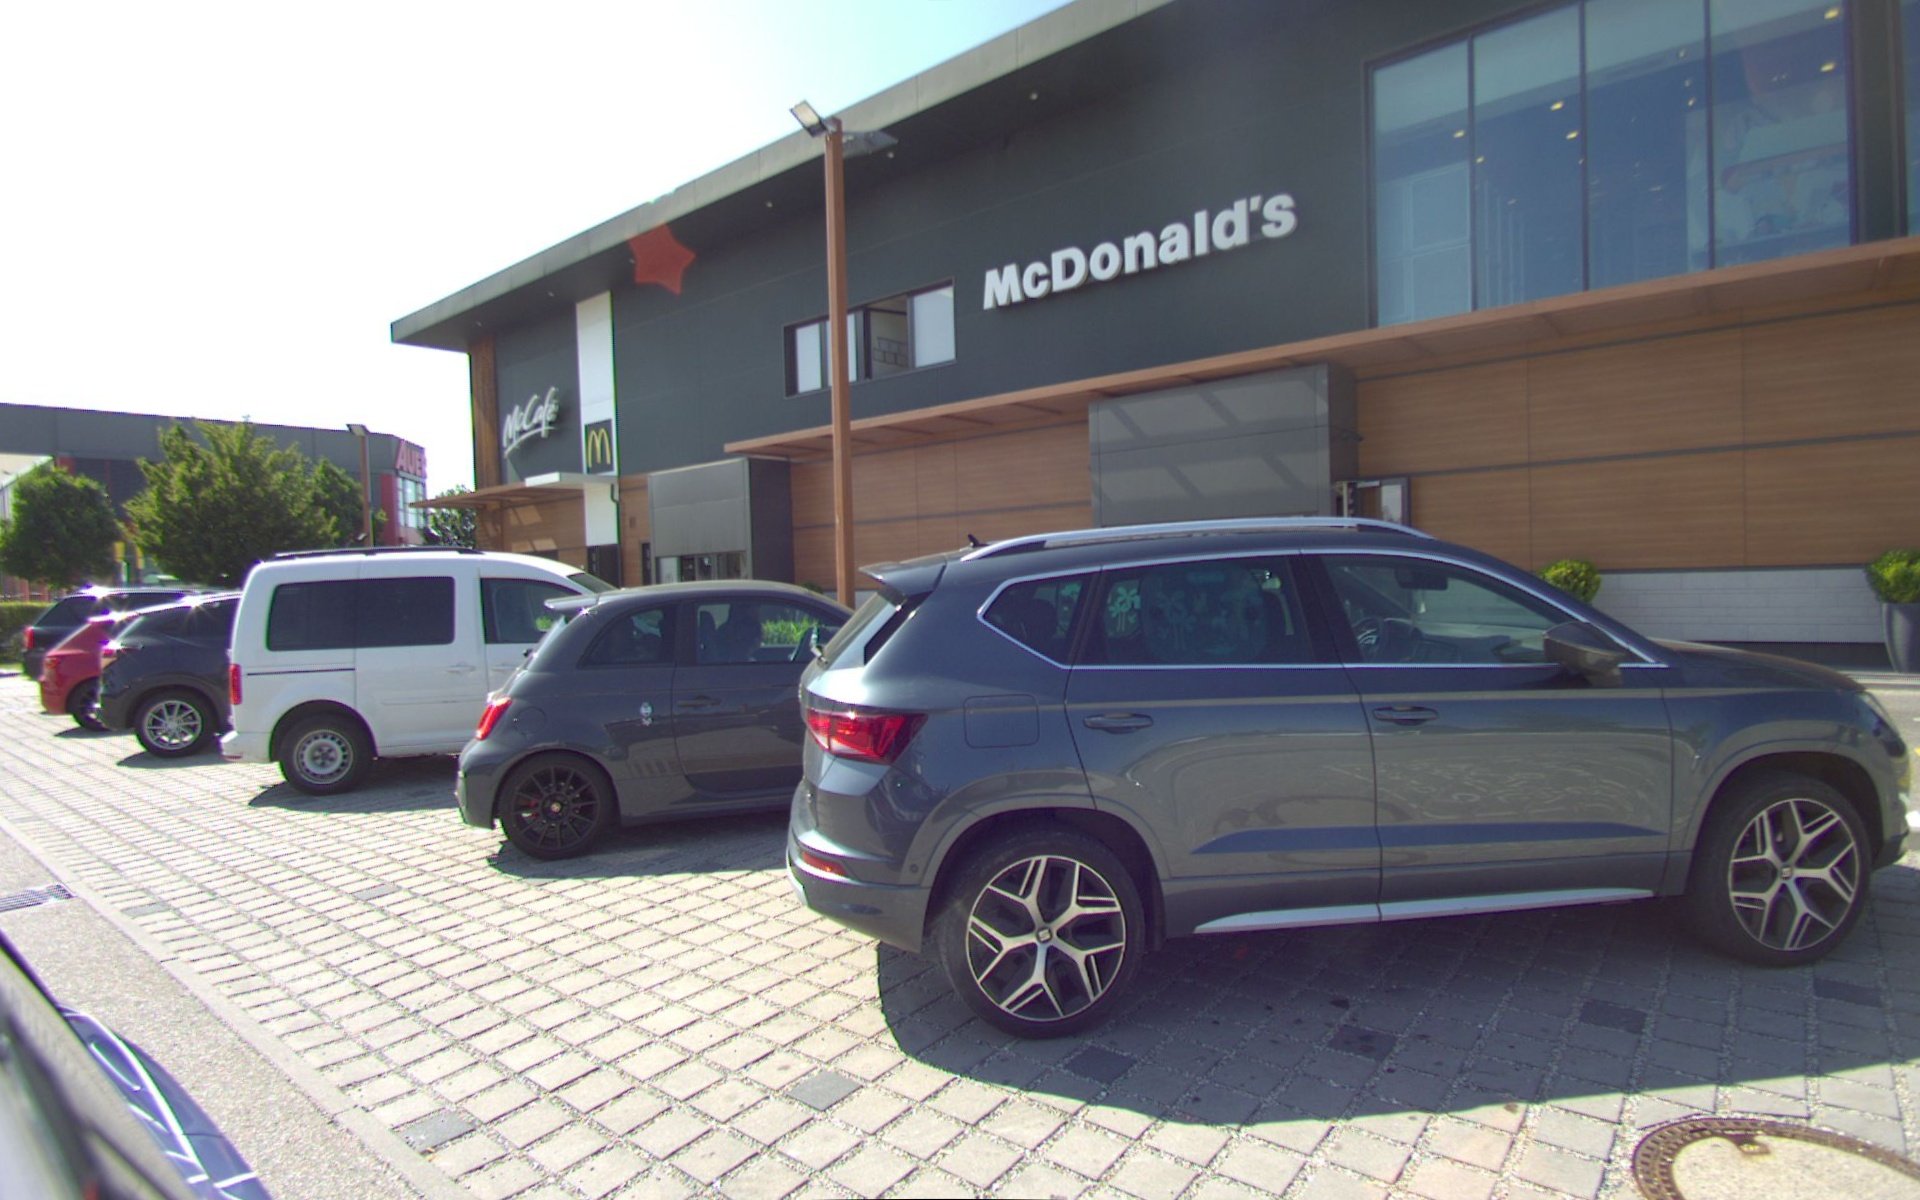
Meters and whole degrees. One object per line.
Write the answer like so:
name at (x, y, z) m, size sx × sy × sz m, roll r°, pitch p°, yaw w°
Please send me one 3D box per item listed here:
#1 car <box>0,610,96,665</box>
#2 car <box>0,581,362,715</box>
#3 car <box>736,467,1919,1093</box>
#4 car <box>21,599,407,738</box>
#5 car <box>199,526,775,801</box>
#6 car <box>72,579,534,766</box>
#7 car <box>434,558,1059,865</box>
car at (-37.714, 1.485, 40.180) m, size 1.999 × 2.029 × 4.954 m, roll 0°, pitch 1°, yaw 41°
car at (-11.581, 0.648, 15.337) m, size 3.972 × 1.718 × 1.679 m, roll -2°, pitch 1°, yaw -12°
car at (1.381, 0.450, 3.996) m, size 4.163 × 1.614 × 1.793 m, roll -4°, pitch 3°, yaw -6°
car at (-9.459, 0.792, 13.219) m, size 3.707 × 1.454 × 1.680 m, roll -3°, pitch 1°, yaw -22°
car at (-3.694, 0.430, 8.636) m, size 4.077 × 1.936 × 1.762 m, roll -2°, pitch 1°, yaw -11°
car at (-6.719, 0.664, 10.839) m, size 3.779 × 1.644 × 1.763 m, roll -2°, pitch 1°, yaw -17°
car at (-1.258, 0.561, 6.409) m, size 3.358 × 1.493 × 1.572 m, roll -2°, pitch 1°, yaw -14°
